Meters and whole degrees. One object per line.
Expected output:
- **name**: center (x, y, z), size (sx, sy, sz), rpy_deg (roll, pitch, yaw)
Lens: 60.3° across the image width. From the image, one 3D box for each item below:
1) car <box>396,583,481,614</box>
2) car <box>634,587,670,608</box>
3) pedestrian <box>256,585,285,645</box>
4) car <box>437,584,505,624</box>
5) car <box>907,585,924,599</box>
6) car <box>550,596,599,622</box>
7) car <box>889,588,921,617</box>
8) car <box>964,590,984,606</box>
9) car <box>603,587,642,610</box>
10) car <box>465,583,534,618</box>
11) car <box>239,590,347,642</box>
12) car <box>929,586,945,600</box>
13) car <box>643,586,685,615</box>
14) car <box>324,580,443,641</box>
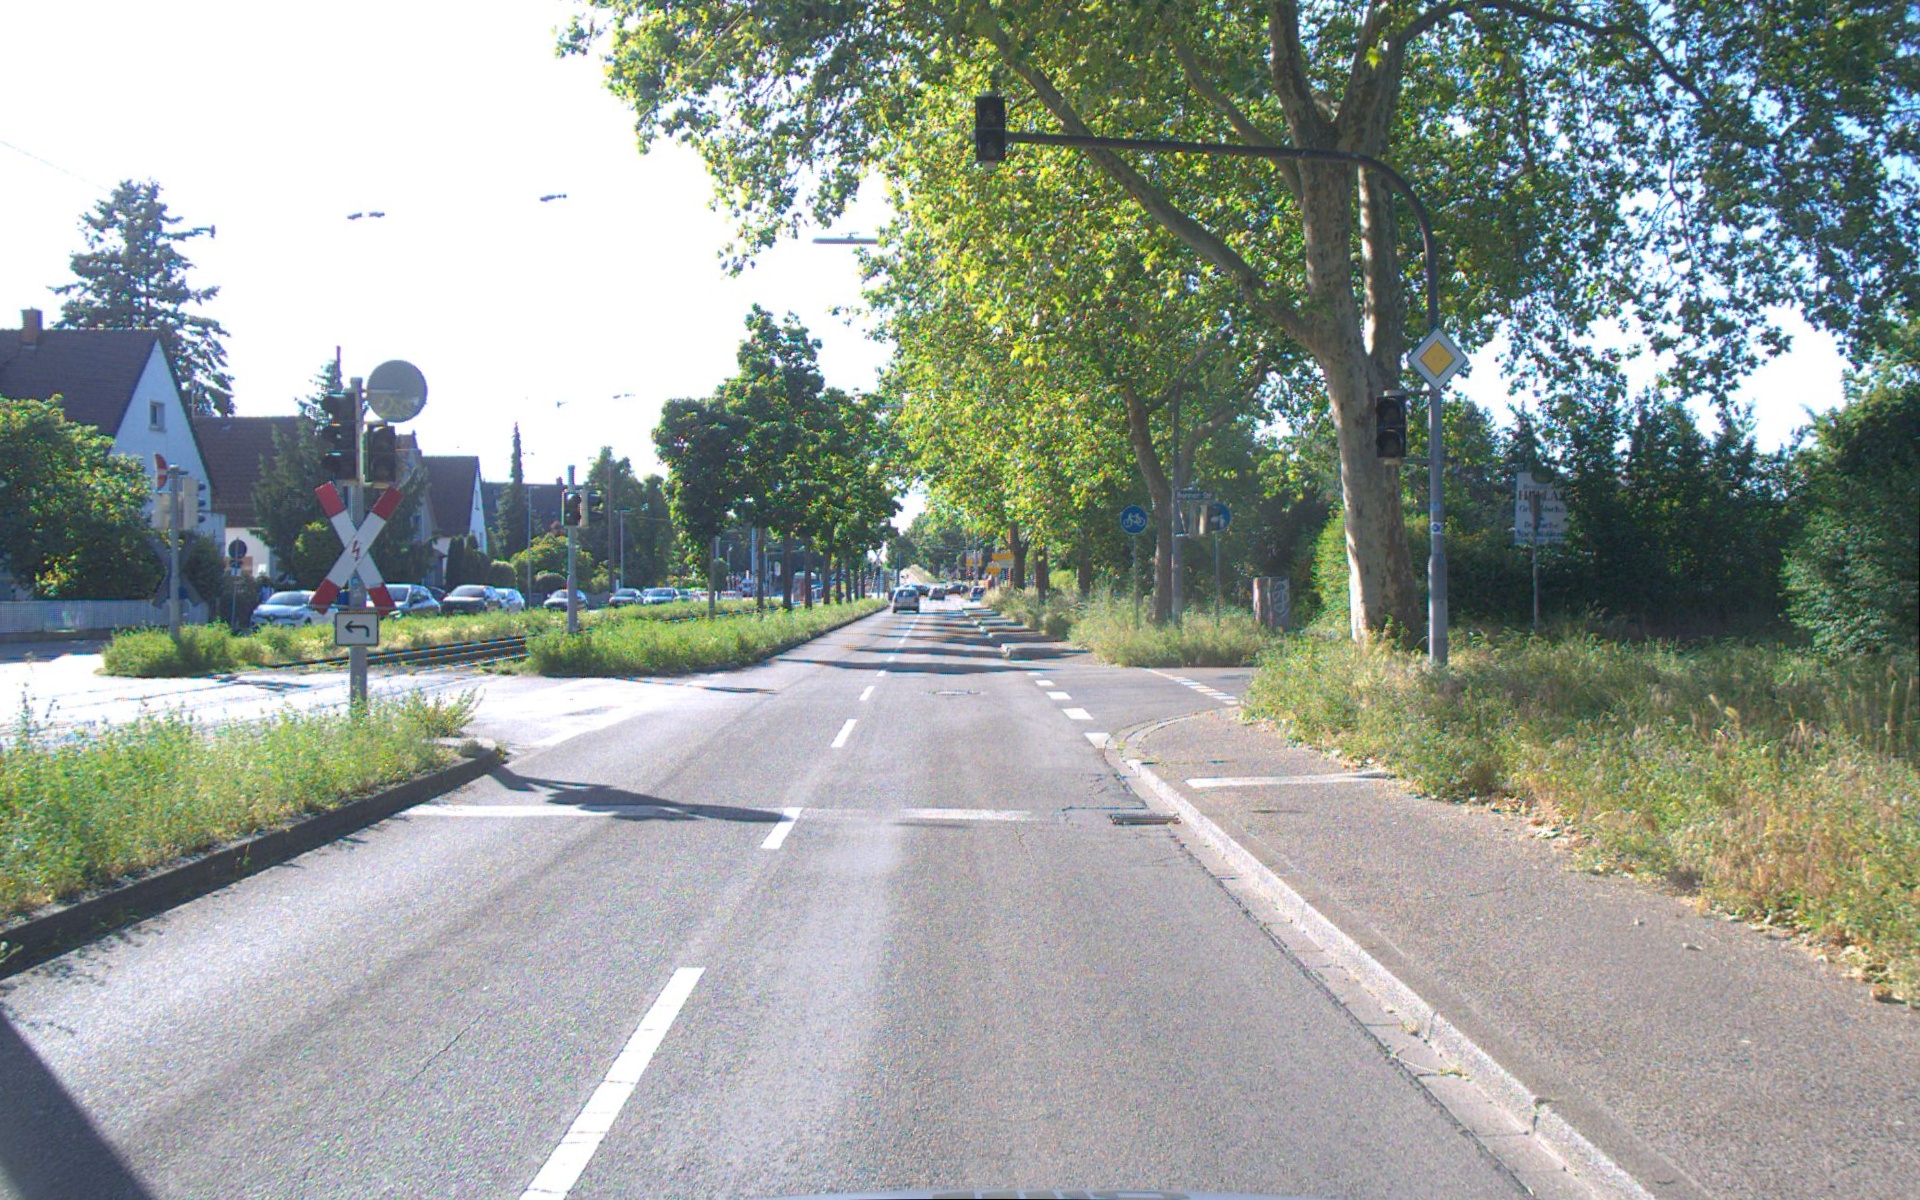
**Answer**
- **car**: center (-27.519, -0.103, 87.345), size (3.838, 1.478, 1.888), rpy_deg (1, 2, -1)
- **car**: center (-22.512, -0.198, 121.069), size (1.822, 1.456, 4.461), rpy_deg (1, 0, -1)
- **pedestrian**: center (-23.923, 0.524, 57.410), size (0.667, 2.049, 0.772), rpy_deg (1, 0, -1)
- **car**: center (-21.611, 0.152, 73.227), size (1.712, 1.679, 4.554), rpy_deg (1, 0, -1)
- **car**: center (-5.338, -0.941, 196.828), size (1.953, 1.631, 4.472), rpy_deg (1, 0, -1)
- **car**: center (-21.651, 0.482, 92.959), size (1.822, 1.393, 4.227), rpy_deg (1, 0, -1)
- **car**: center (-3.225, 0.154, 98.214), size (1.822, 1.629, 4.227), rpy_deg (1, 0, -1)
- **car**: center (1.409, -0.228, 170.341), size (1.953, 1.631, 4.472), rpy_deg (1, 0, -1)
- **car**: center (-22.667, -0.114, 111.193), size (1.822, 1.438, 4.157), rpy_deg (1, 0, -1)
- **car**: center (-21.904, 0.024, 78.772), size (1.953, 1.572, 4.779), rpy_deg (1, 0, -1)
- **car**: center (-21.406, 0.479, 53.267), size (1.822, 1.569, 4.227), rpy_deg (1, 0, -1)
- **car**: center (-2.696, -0.789, 191.590), size (1.755, 1.586, 4.227), rpy_deg (1, 0, -1)
- **car**: center (-17.259, 0.015, 96.572), size (1.627, 1.579, 4.809), rpy_deg (1, 0, -1)
- **car**: center (-16.730, 0.283, 48.212), size (1.953, 1.631, 4.472), rpy_deg (1, 0, -1)
